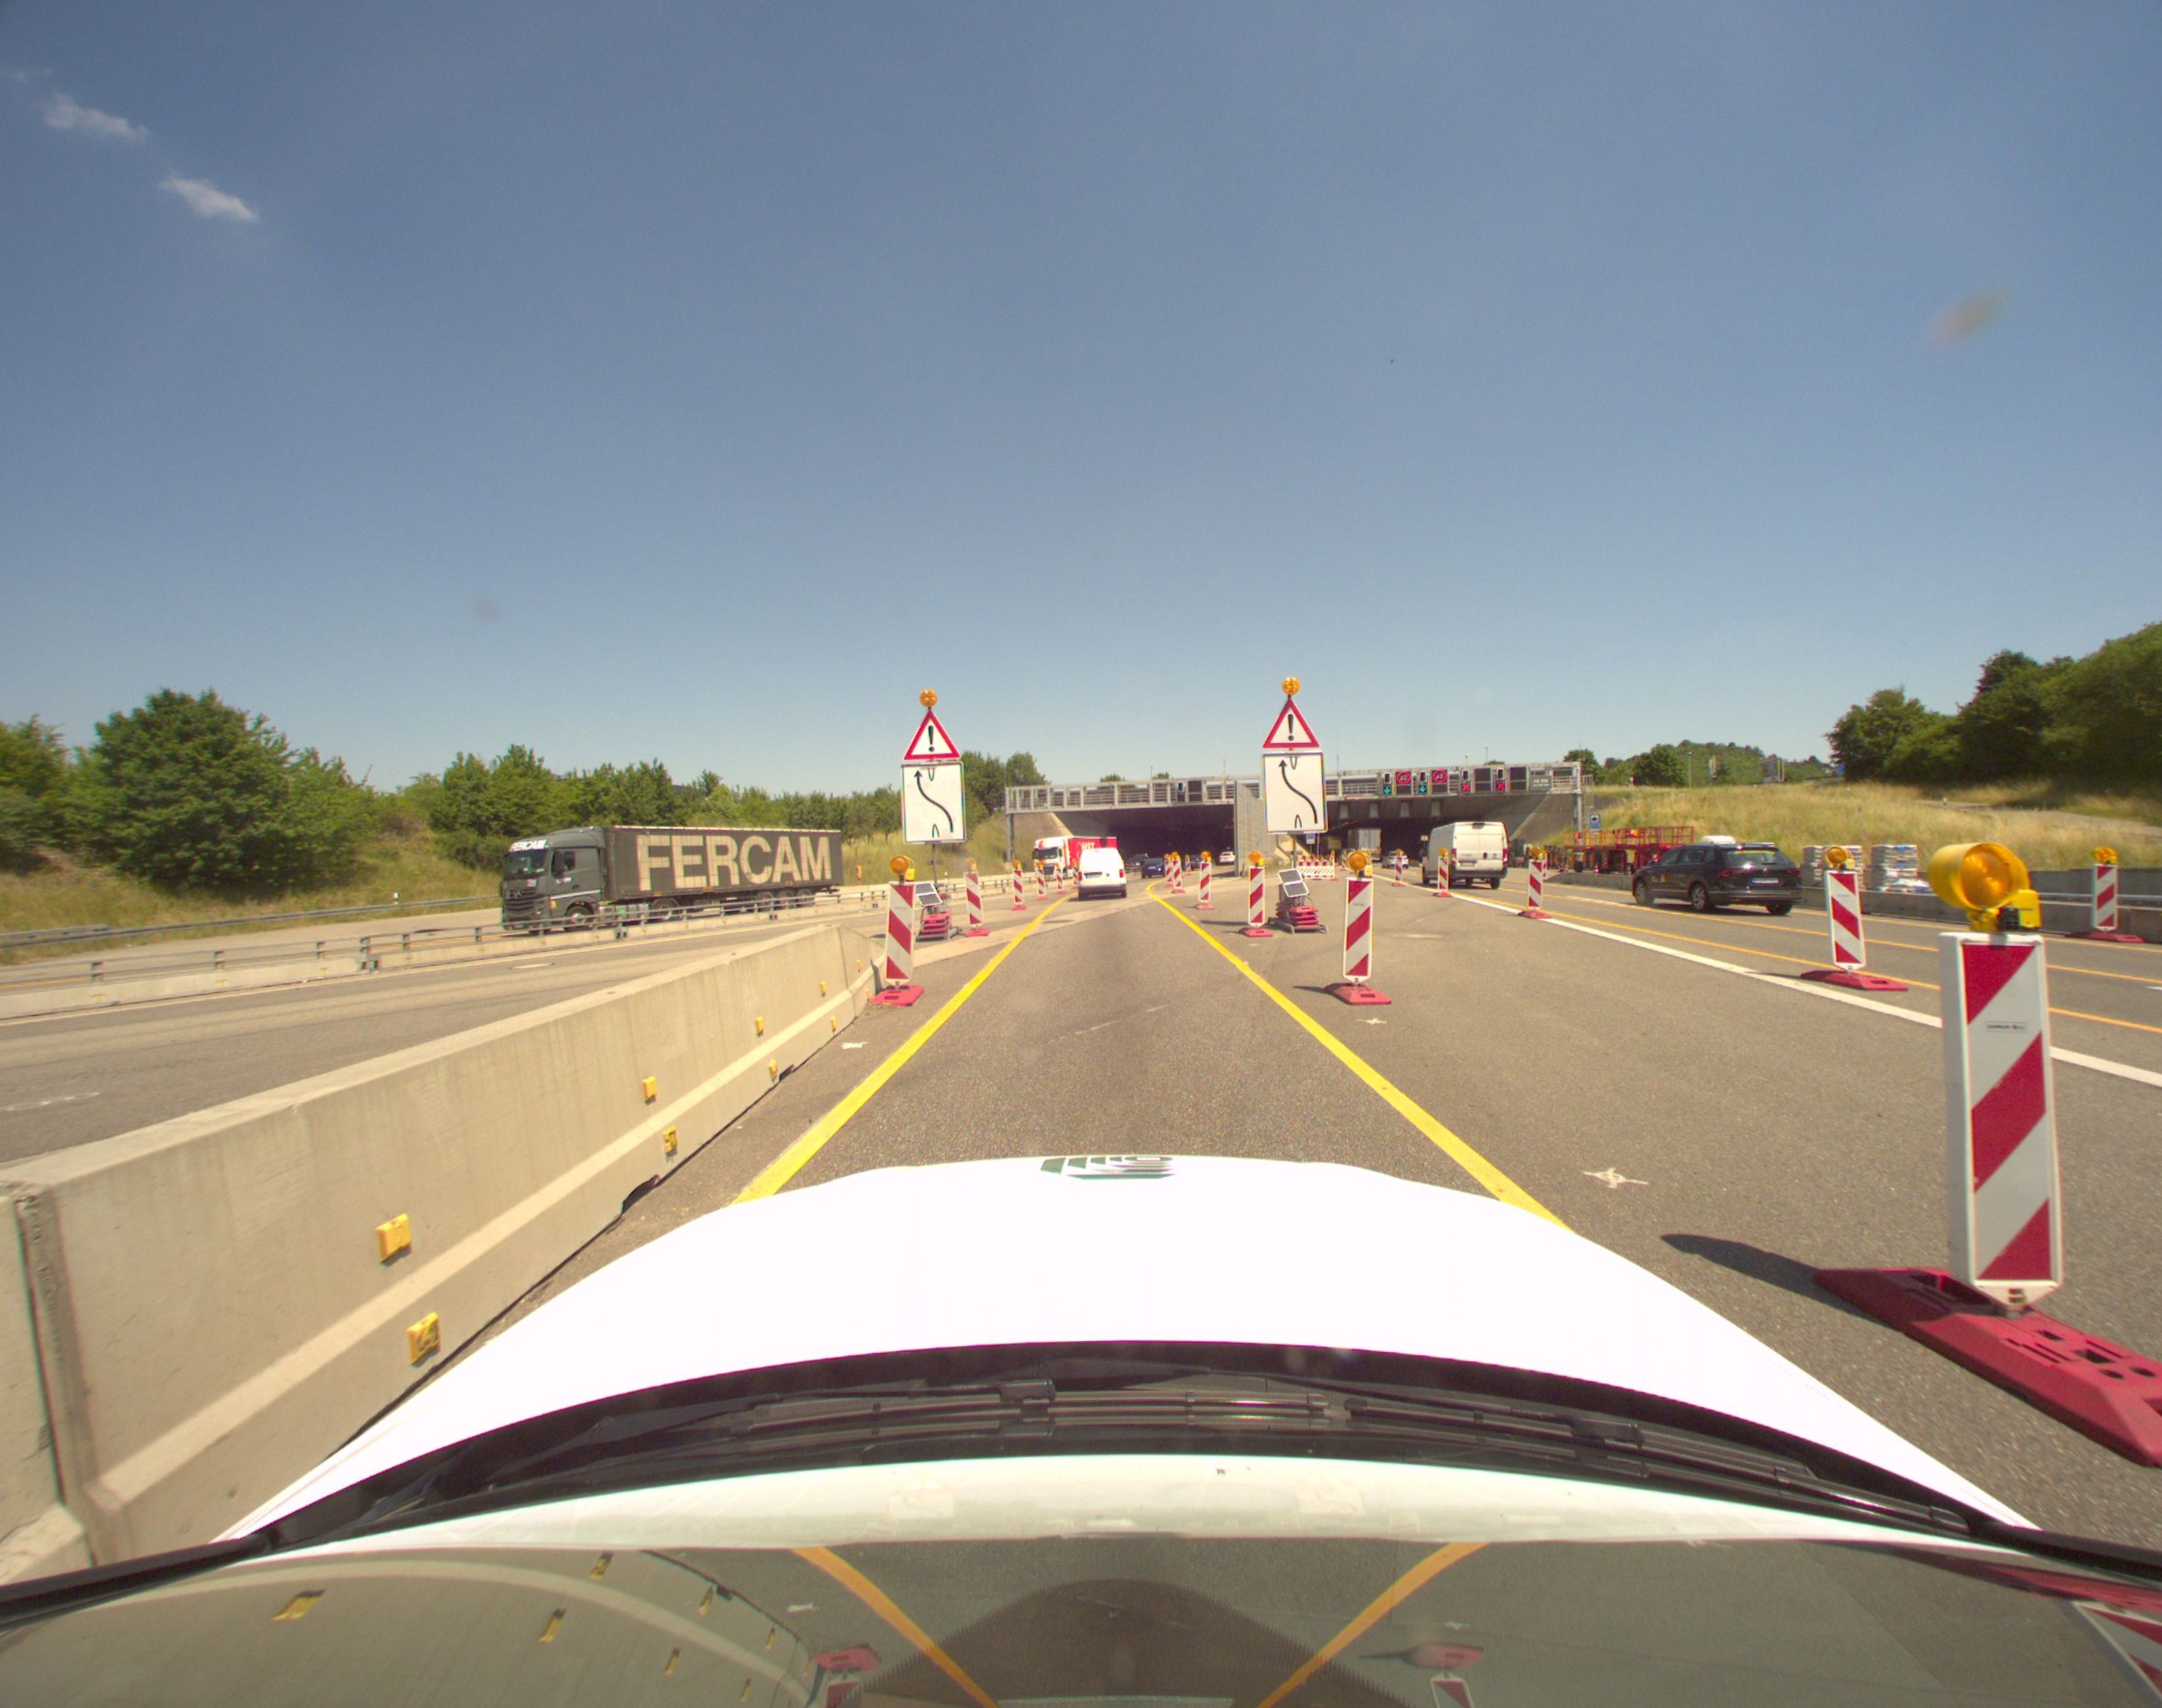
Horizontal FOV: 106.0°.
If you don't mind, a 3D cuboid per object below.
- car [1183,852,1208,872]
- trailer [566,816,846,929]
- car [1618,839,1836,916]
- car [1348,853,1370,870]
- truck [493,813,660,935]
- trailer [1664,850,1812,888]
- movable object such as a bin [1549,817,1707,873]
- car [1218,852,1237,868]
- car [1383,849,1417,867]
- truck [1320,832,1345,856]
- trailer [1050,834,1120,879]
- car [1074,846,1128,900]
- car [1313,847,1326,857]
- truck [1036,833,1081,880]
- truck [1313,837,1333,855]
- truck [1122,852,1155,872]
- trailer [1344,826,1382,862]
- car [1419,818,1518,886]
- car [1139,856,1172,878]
[{"bbox_3d":[11.322,0.777,80.344,1.795,1.815,4.428,-2,-1,16],"label":"car"},{"bbox_3d":[-16.410,0.729,37.843,2.414,4.297,13.882,-2,-1,22],"label":"trailer"},{"bbox_3d":[15.787,0.533,20.374,2.006,1.662,5.251,0,-1,10],"label":"car"},{"bbox_3d":[27.493,0.733,80.656,1.801,1.642,4.672,0,-1,16],"label":"car"},{"bbox_3d":[-19.070,0.735,31.087,2.411,4.270,4.863,-2,-1,21],"label":"truck"},{"bbox_3d":[31.022,0.656,38.814,2.580,1.569,6.250,-3,-1,8],"label":"trailer"},{"bbox_3d":[35.011,-0.434,53.197,3.090,3.011,14.748,-3,-1,12],"label":"movable object such as a bin"},{"bbox_3d":[17.635,0.718,98.144,1.795,1.751,4.428,-2,-1,16],"label":"car"},{"bbox_3d":[27.166,0.330,69.528,1.804,1.464,4.665,0,-1,10],"label":"car"},{"bbox_3d":[50.172,-1.891,163.010,3.379,4.335,16.588,0,-1,12],"label":"truck"},{"bbox_3d":[0.657,0.234,82.091,2.317,4.102,13.330,-2,-1,21],"label":"trailer"},{"bbox_3d":[0.780,0.681,30.109,1.801,1.794,3.734,-2,-1,3],"label":"car"},{"bbox_3d":[42.496,-0.345,145.125,1.804,1.630,4.200,0,-1,9],"label":"car"},{"bbox_3d":[-2.027,0.221,75.181,2.314,4.108,5.043,-2,-1,21],"label":"truck"},{"bbox_3d":[60.037,-1.941,202.351,3.379,4.071,16.589,0,-1,12],"label":"truck"},{"bbox_3d":[6.063,0.815,85.170,1.976,1.873,4.787,-3,0,21],"label":"truck"},{"bbox_3d":[34.584,-1.103,100.384,2.714,4.062,14.141,0,-1,12],"label":"trailer"},{"bbox_3d":[15.914,-0.034,33.881,2.250,2.536,6.606,0,-1,12],"label":"car"},{"bbox_3d":[5.629,0.973,61.314,1.795,1.537,4.426,-2,-1,14],"label":"car"}]
